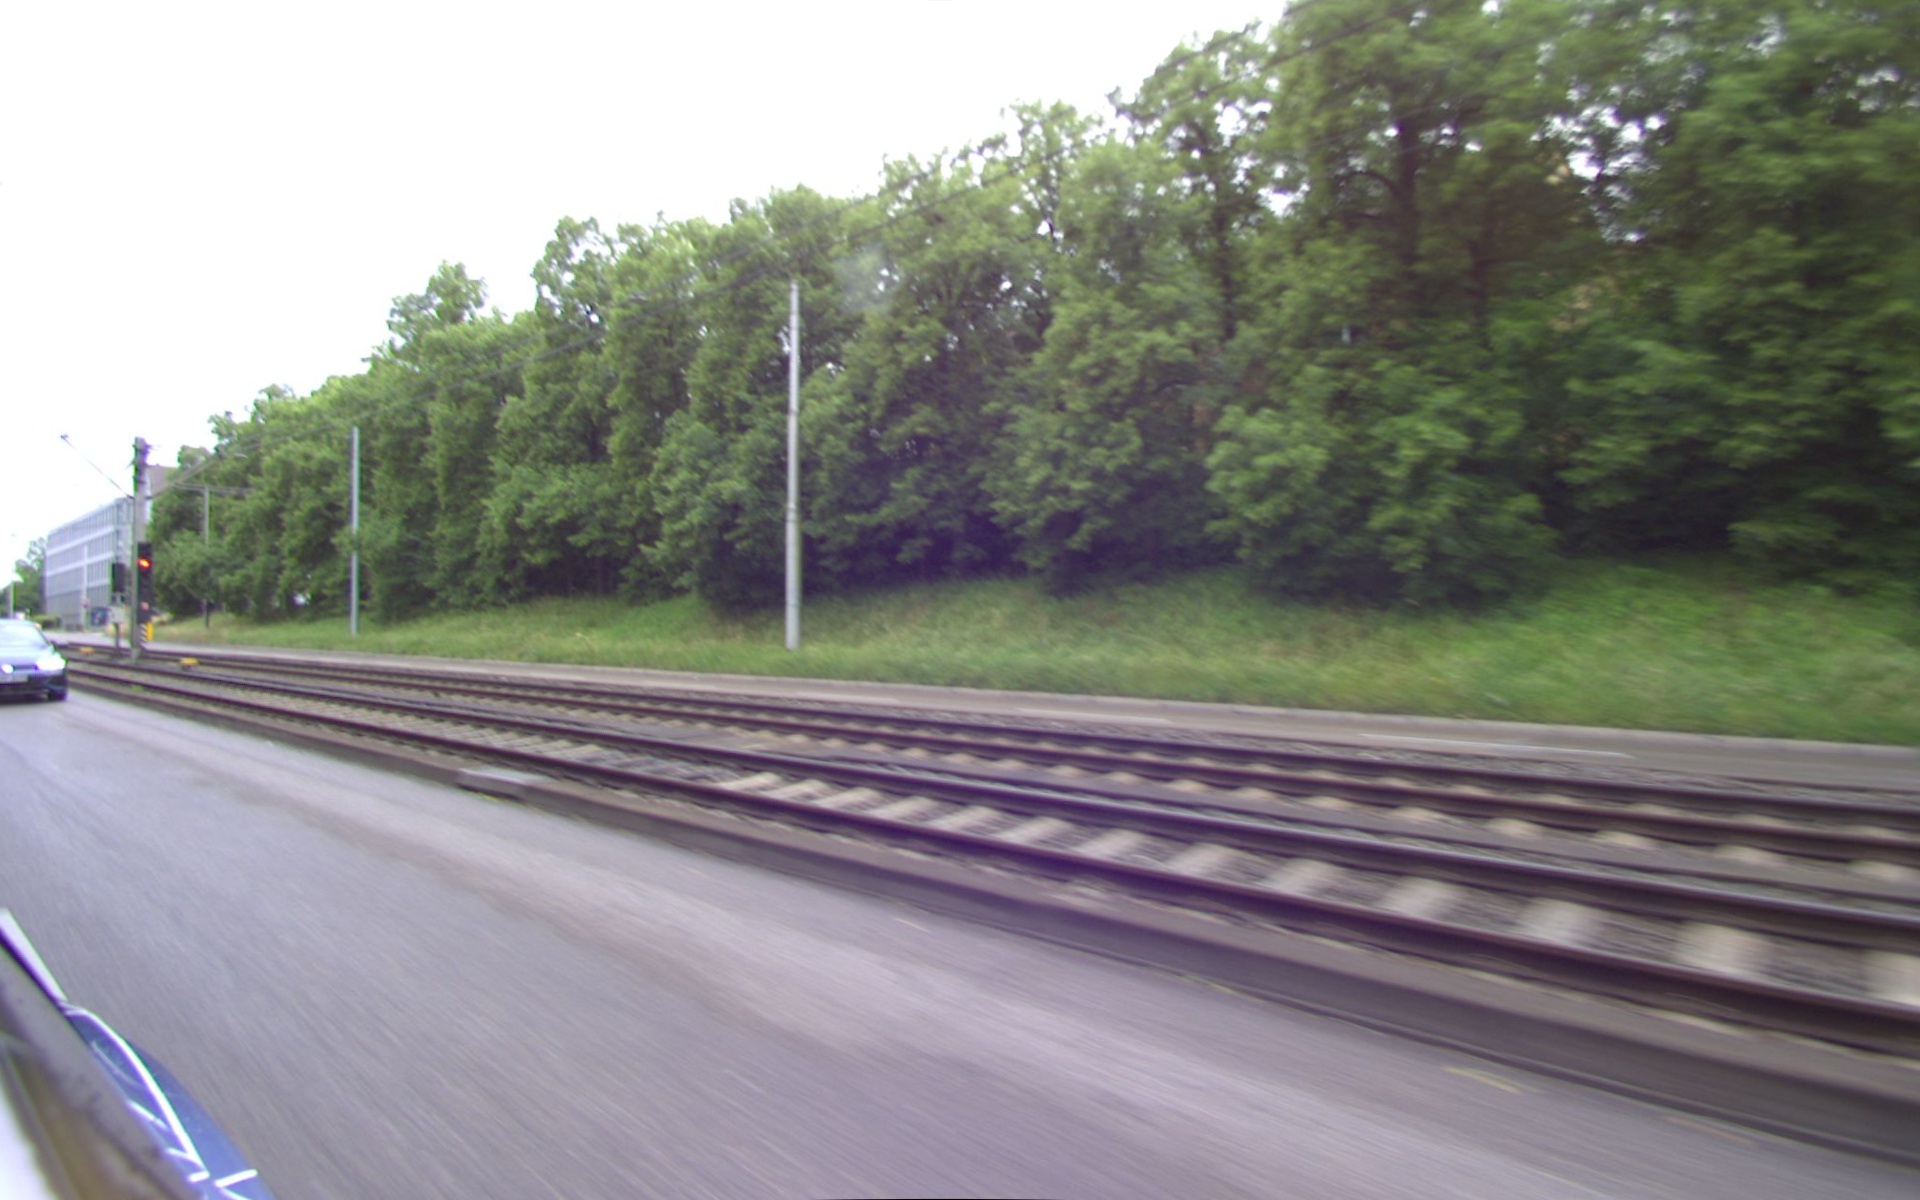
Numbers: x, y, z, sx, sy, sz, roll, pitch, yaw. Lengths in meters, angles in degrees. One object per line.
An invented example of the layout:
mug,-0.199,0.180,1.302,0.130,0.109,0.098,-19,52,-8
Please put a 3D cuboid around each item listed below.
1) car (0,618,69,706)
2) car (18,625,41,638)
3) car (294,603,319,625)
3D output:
car,-17.426,1.070,18.088,3.831,1.459,1.748,-1,-2,41
car,-107.307,3.675,116.725,3.908,1.447,1.460,-1,-4,41
car,-62.600,1.386,96.929,1.934,2.029,4.228,1,-2,-33
